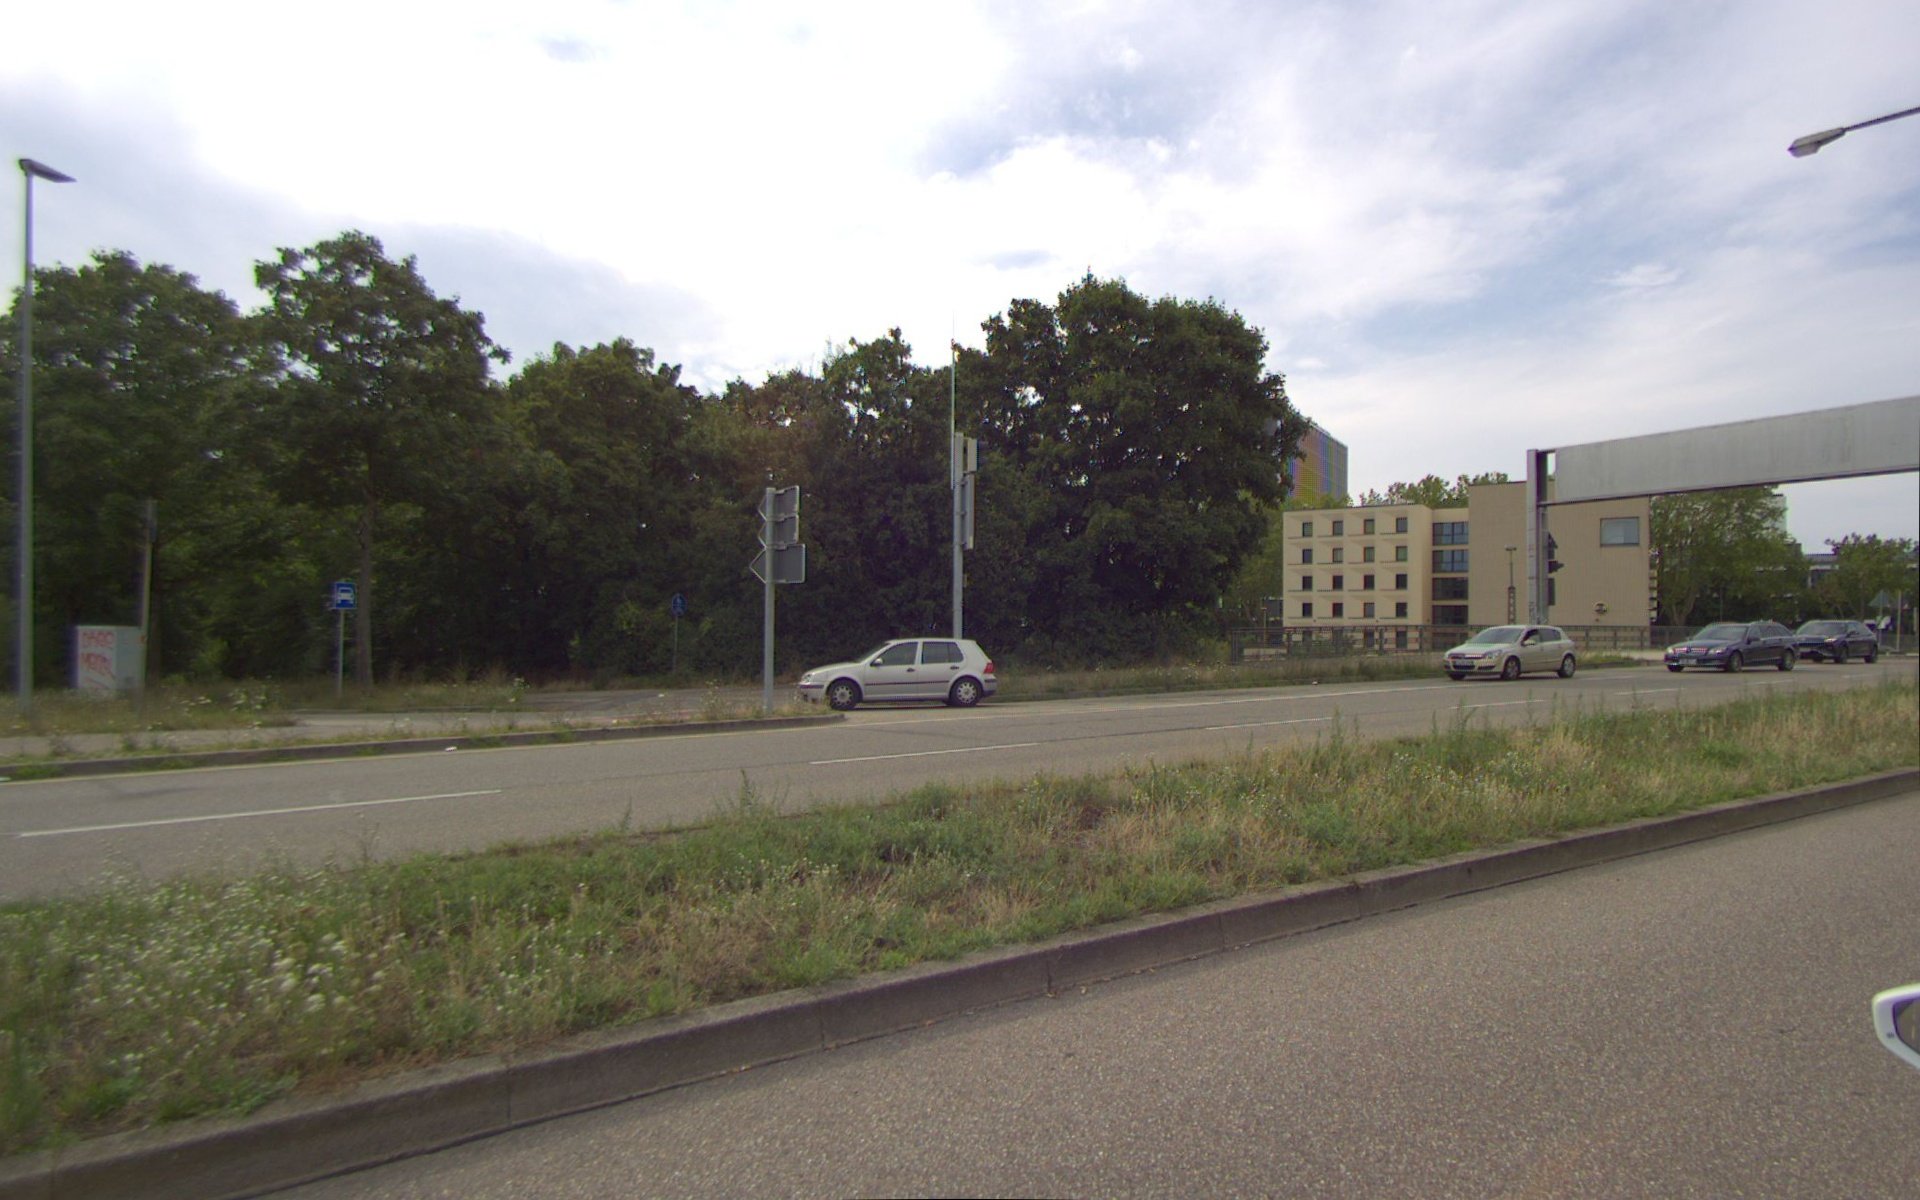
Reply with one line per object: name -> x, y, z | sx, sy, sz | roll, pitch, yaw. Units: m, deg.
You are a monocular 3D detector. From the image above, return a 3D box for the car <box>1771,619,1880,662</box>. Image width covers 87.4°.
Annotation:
car -> 32.734, 1.566, 37.970 | 4.542, 1.544, 1.784 | 2, -4, -31

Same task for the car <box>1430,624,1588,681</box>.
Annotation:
car -> 14.905, 1.436, 27.221 | 4.259, 1.437, 1.660 | 2, -4, -28

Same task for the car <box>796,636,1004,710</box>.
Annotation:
car -> -1.260, 1.475, 20.611 | 4.022, 1.437, 1.667 | 1, -2, -14

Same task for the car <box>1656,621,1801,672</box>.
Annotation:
car -> 23.013, 1.417, 30.050 | 4.460, 1.444, 1.660 | 2, -3, -27
